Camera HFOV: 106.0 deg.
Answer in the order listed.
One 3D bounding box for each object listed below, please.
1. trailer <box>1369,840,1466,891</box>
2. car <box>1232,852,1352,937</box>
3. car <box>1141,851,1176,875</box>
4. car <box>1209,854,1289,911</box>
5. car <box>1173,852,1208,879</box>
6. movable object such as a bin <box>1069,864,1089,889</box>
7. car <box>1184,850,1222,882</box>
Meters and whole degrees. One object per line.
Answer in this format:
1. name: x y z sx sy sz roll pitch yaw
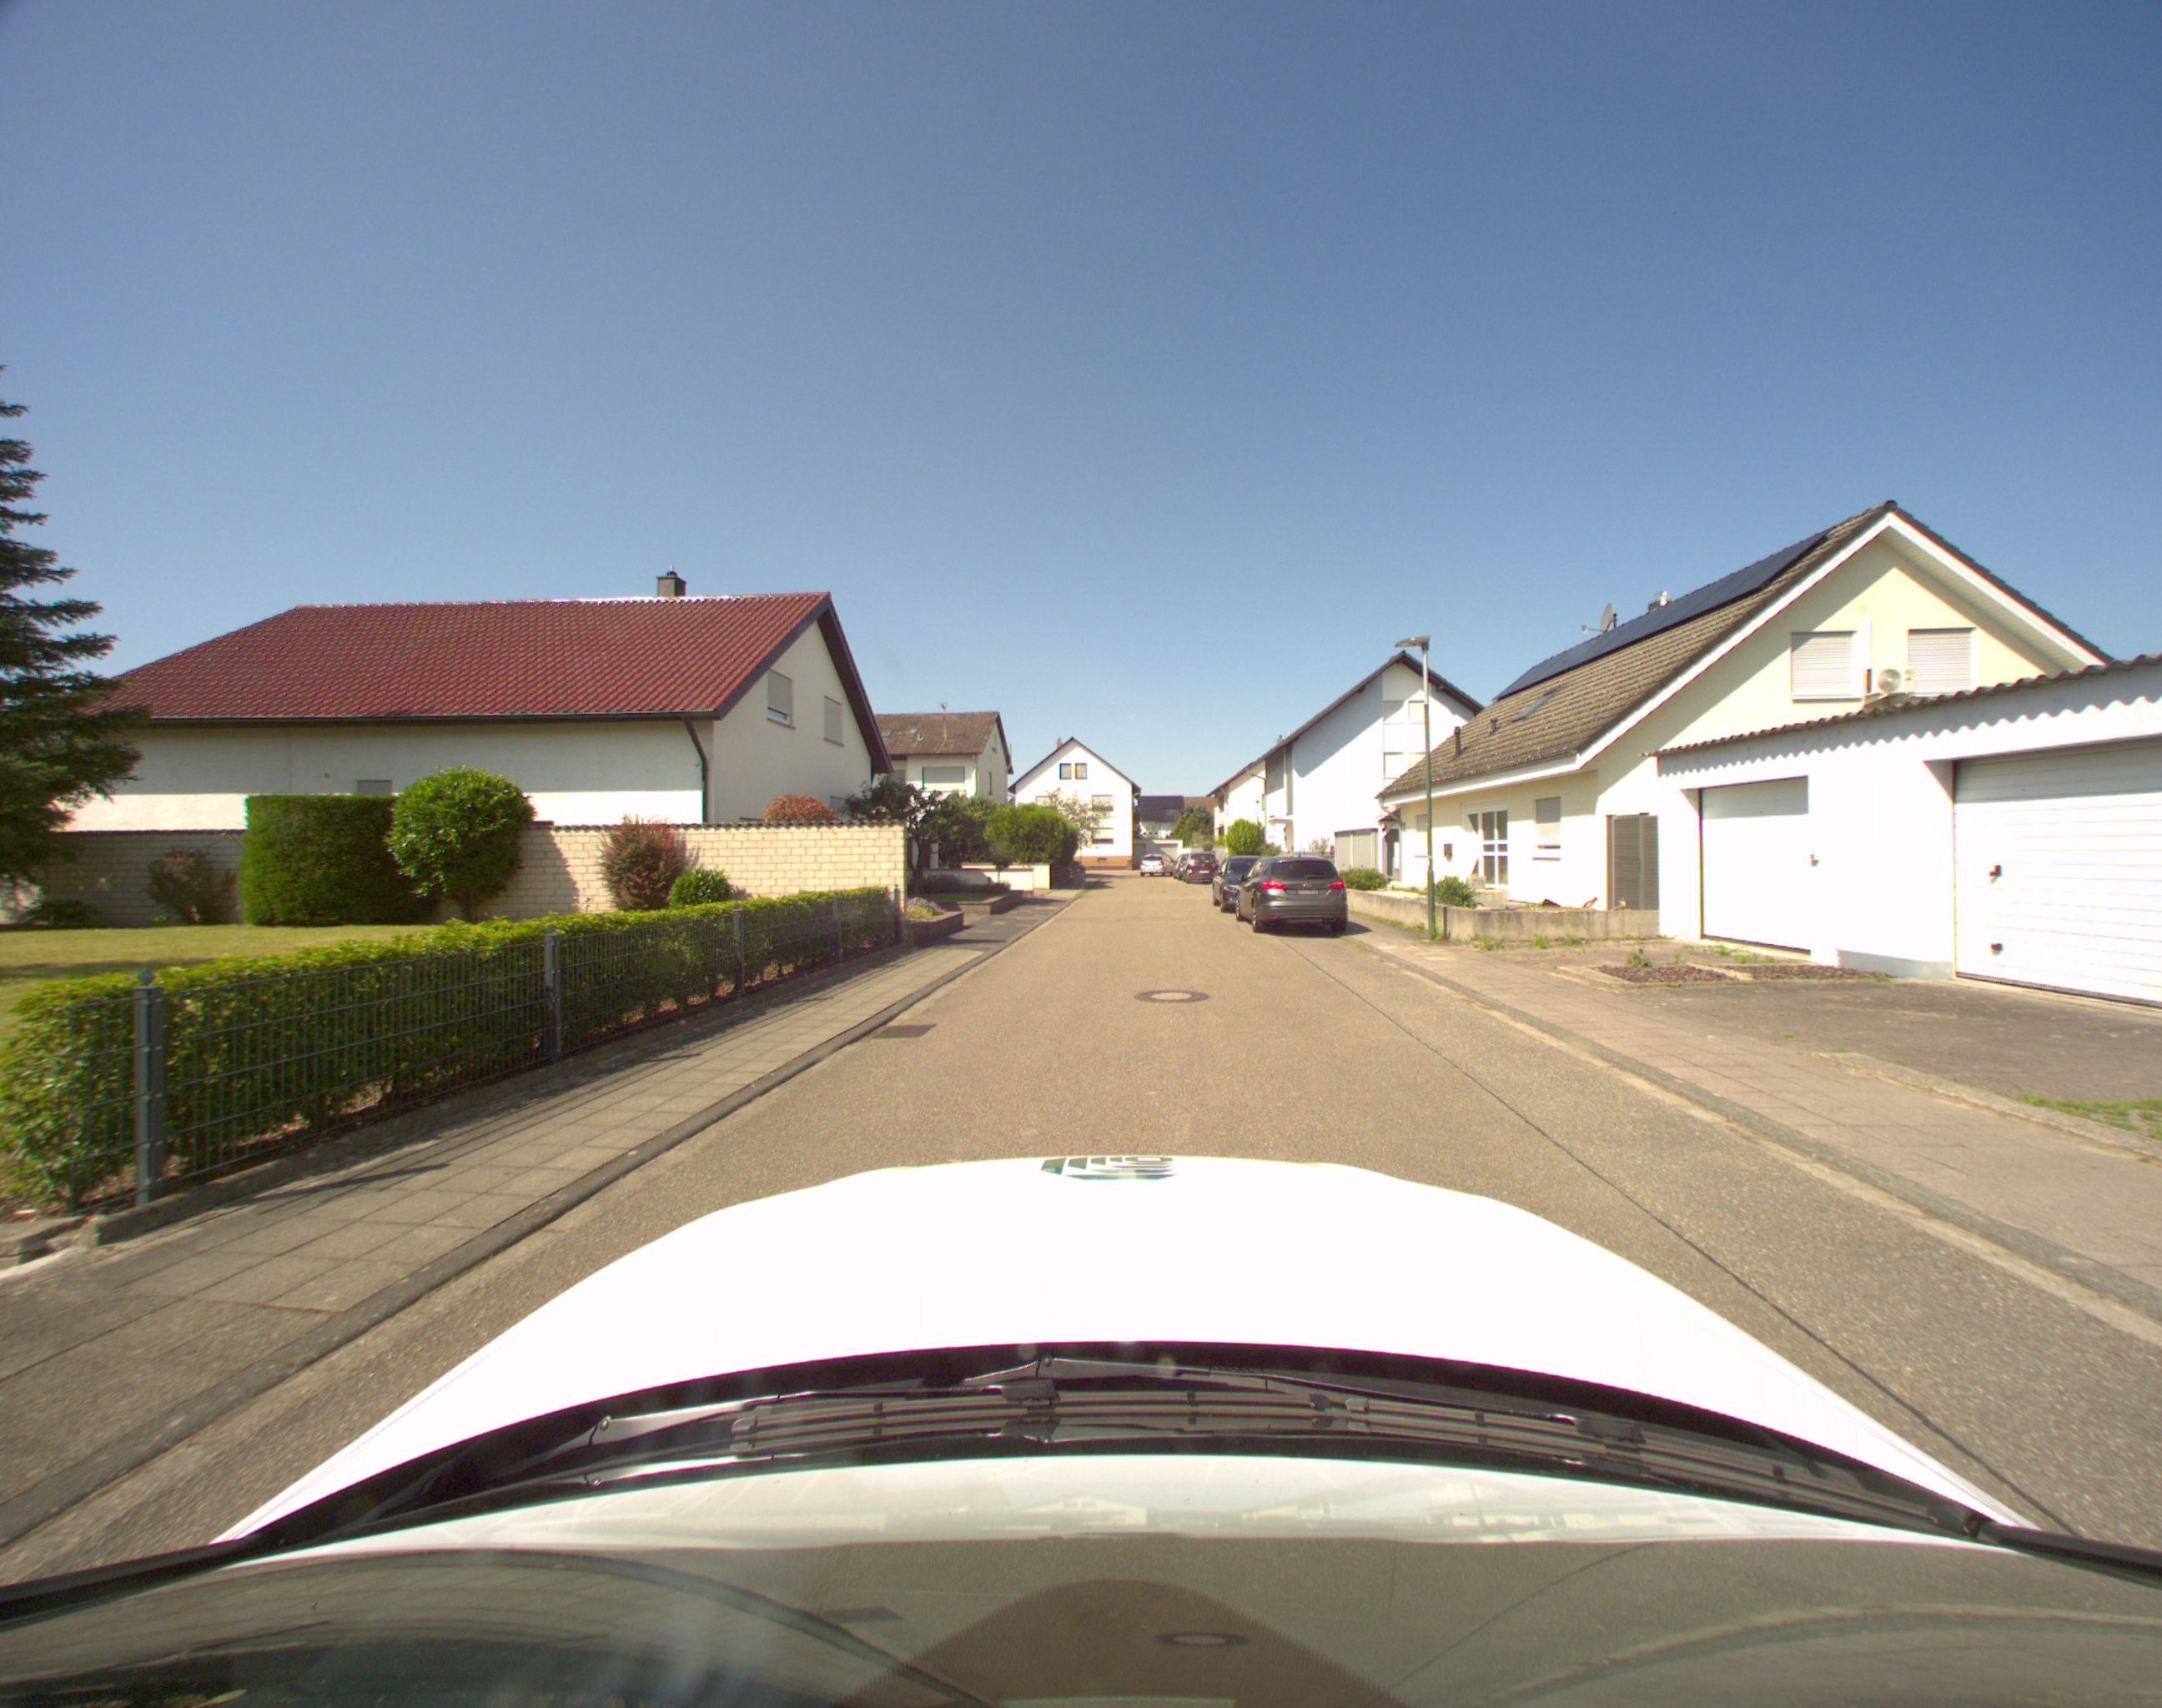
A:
1. trailer: 11.579 0.381 28.138 2.821 1.690 1.404 -1 0 4
2. car: 4.209 0.728 16.845 1.635 1.478 4.004 1 1 3
3. car: 5.265 0.567 55.046 1.632 1.581 3.826 0 0 17
4. car: 4.574 0.719 22.748 1.709 1.438 4.510 -1 0 6
5. car: 6.437 0.653 48.267 1.639 1.546 4.050 -1 0 2
6. movable object such as a bin: -0.071 0.981 36.029 0.815 1.063 0.611 -1 0 3
7. car: 6.417 0.603 43.172 1.638 1.581 4.152 -1 0 4
